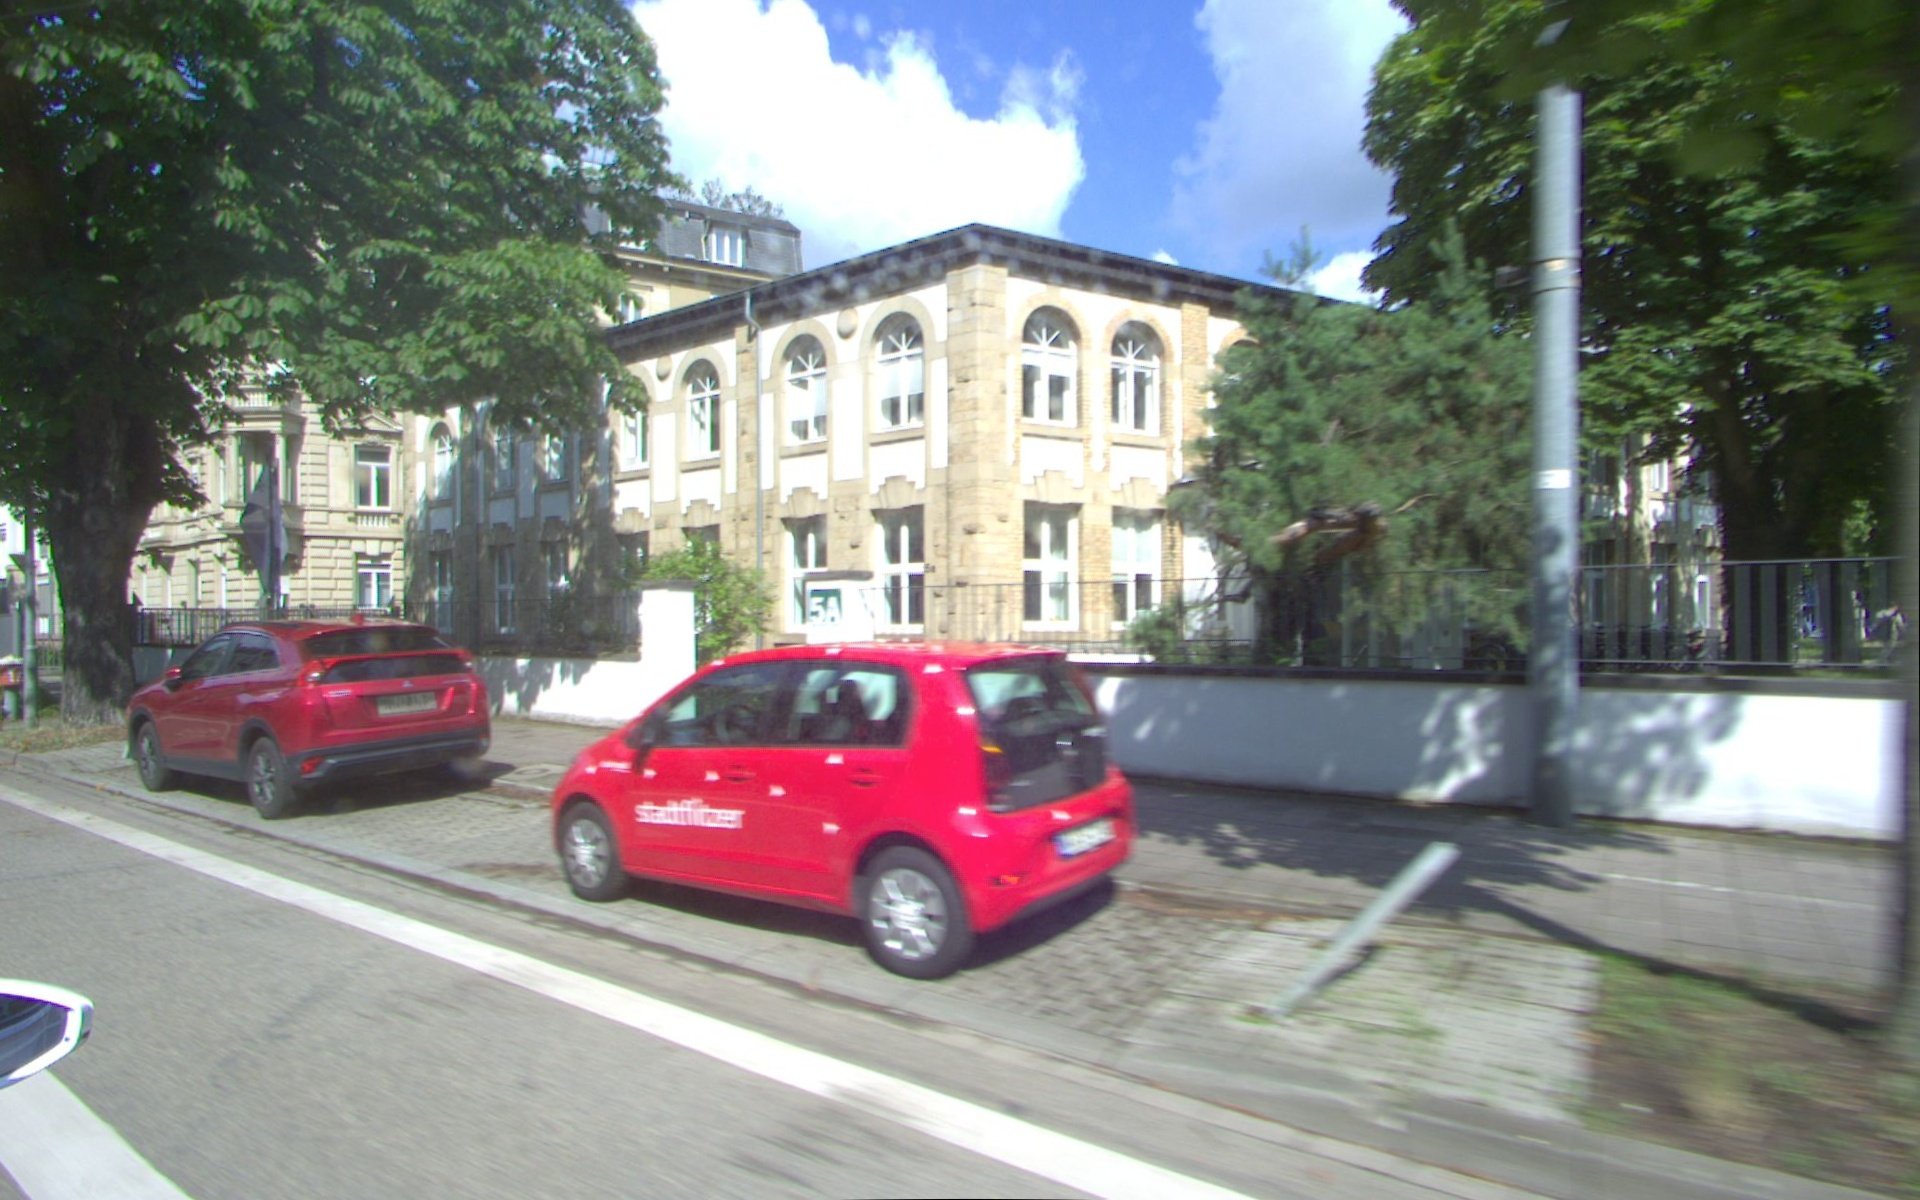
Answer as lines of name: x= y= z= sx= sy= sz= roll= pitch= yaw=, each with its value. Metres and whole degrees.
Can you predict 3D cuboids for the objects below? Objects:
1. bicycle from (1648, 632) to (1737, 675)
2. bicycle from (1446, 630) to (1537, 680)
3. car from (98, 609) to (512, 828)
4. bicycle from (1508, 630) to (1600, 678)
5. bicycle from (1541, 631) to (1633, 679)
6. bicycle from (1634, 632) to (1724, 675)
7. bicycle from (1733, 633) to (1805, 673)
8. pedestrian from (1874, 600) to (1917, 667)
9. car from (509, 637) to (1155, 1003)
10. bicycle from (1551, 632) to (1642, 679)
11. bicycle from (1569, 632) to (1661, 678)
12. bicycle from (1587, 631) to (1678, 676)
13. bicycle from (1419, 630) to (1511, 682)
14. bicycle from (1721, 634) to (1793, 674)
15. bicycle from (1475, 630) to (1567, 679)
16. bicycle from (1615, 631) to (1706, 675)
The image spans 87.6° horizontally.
bicycle: x=18.520 y=1.344 z=25.350 sx=0.421 sy=1.000 sz=1.812 roll=2 pitch=-1 yaw=-28
bicycle: x=11.517 y=1.186 z=21.770 sx=0.421 sy=1.000 sz=1.812 roll=2 pitch=-1 yaw=-28
car: x=-6.511 y=0.978 z=9.836 sx=4.222 sy=1.698 sz=1.871 roll=-1 pitch=0 yaw=33
bicycle: x=13.298 y=1.198 z=22.482 sx=0.421 sy=1.000 sz=1.812 roll=2 pitch=-1 yaw=-28
bicycle: x=14.302 y=1.236 z=22.891 sx=0.421 sy=1.000 sz=1.812 roll=2 pitch=-1 yaw=-28
bicycle: x=17.908 y=1.318 z=24.985 sx=0.421 sy=1.000 sz=1.812 roll=2 pitch=-1 yaw=-28
bicycle: x=21.666 y=1.413 z=26.832 sx=0.421 sy=1.000 sz=1.451 roll=2 pitch=-1 yaw=-28
pedestrian: x=23.312 y=0.832 z=24.959 sx=0.846 sy=1.644 sz=0.567 roll=0 pitch=0 yaw=-31
car: x=-0.855 y=0.965 z=5.777 sx=3.548 sy=1.447 sz=1.595 roll=-2 pitch=0 yaw=35
bicycle: x=14.728 y=1.262 z=23.219 sx=0.421 sy=1.000 sz=1.812 roll=2 pitch=-1 yaw=-28
bicycle: x=15.378 y=1.278 z=23.562 sx=0.421 sy=1.000 sz=1.812 roll=2 pitch=-1 yaw=-28
bicycle: x=16.018 y=1.267 z=23.908 sx=0.421 sy=1.000 sz=1.812 roll=2 pitch=-1 yaw=-28
bicycle: x=10.564 y=1.156 z=21.003 sx=0.421 sy=1.000 sz=1.812 roll=2 pitch=-1 yaw=-28
bicycle: x=21.147 y=1.434 z=26.603 sx=0.421 sy=1.000 sz=1.452 roll=2 pitch=-1 yaw=-26
bicycle: x=12.298 y=1.184 z=21.990 sx=0.421 sy=1.000 sz=1.812 roll=2 pitch=-1 yaw=-28
bicycle: x=17.086 y=1.277 z=24.465 sx=0.421 sy=1.000 sz=1.812 roll=2 pitch=-1 yaw=-28
